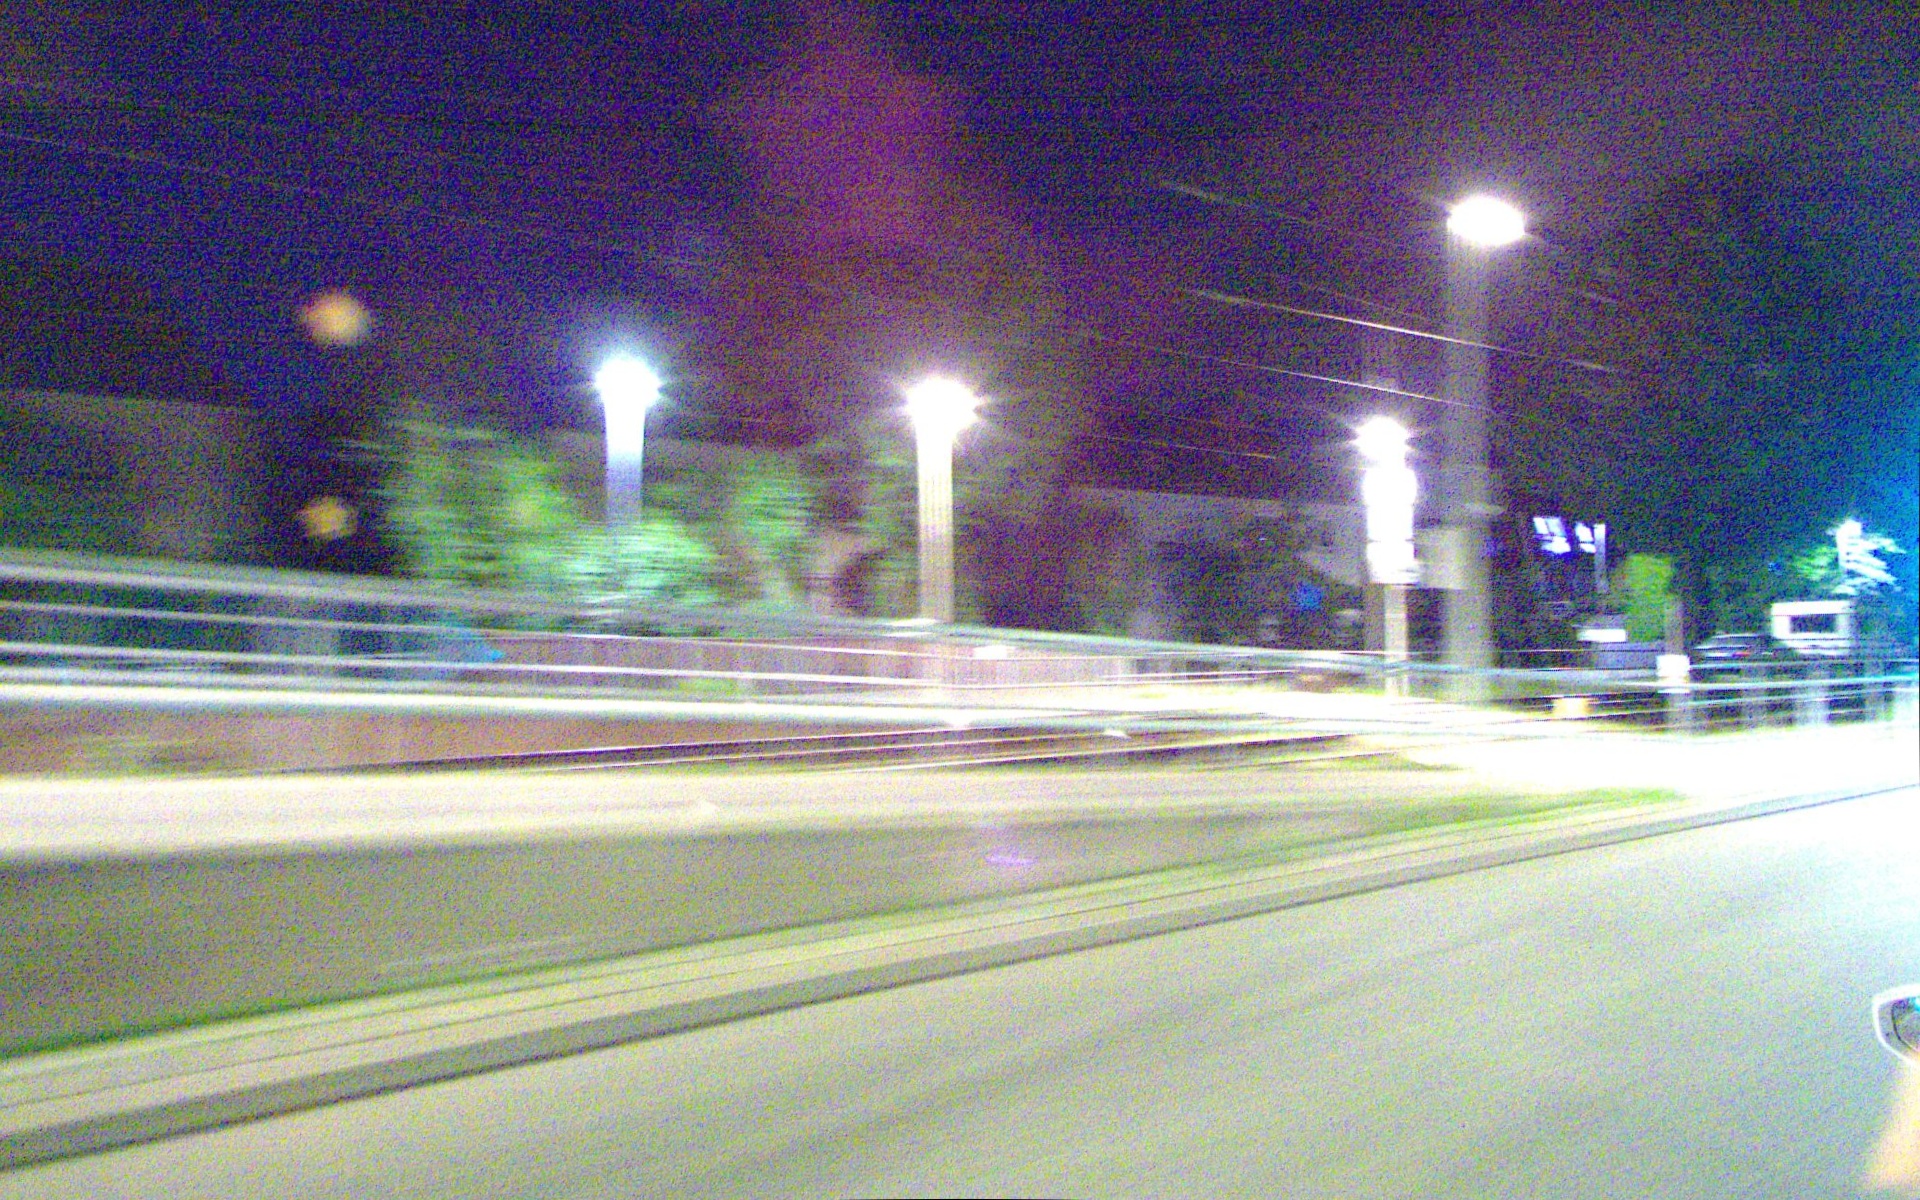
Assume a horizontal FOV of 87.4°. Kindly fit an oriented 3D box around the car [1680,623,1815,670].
[{"bbox_3d":[24.987,1.475,31.838,4.486,1.356,1.640,1,-6,-28],"label":"car"}]

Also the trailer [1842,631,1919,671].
[{"bbox_3d":[36.434,1.951,38.274,4.588,1.392,2.416,1,-5,-23],"label":"trailer"}]

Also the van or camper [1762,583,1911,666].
[{"bbox_3d":[30.529,0.891,34.955,5.600,2.681,2.261,1,-4,-32],"label":"van or camper"}]
